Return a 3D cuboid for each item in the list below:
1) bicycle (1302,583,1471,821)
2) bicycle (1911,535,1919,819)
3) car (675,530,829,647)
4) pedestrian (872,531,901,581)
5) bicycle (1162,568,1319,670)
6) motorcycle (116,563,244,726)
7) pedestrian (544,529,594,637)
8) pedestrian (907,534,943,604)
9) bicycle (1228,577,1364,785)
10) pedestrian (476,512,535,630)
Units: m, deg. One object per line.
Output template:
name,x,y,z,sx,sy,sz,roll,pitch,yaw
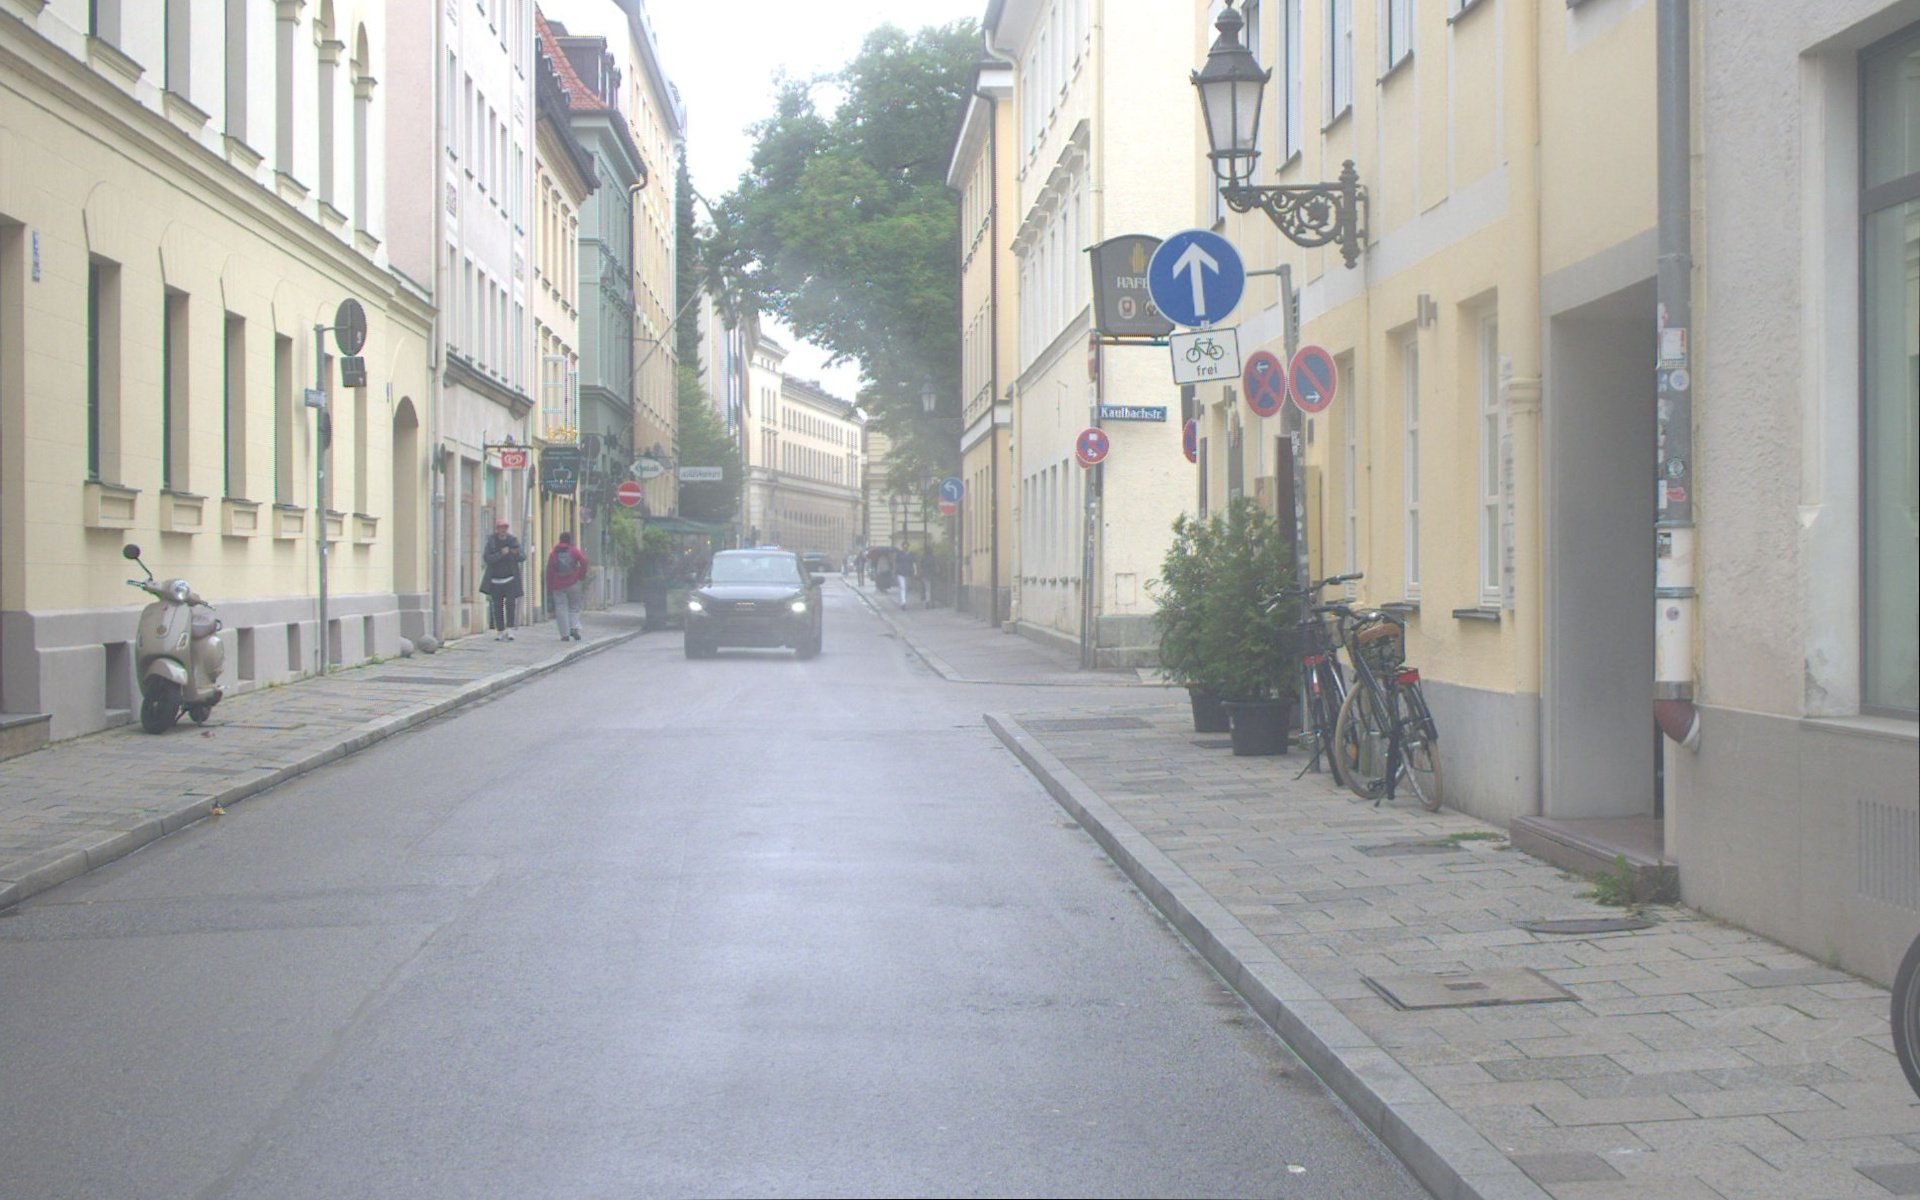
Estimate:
bicycle,2.203,0.498,17.945,0.565,1.133,1.988,-2,1,-1
bicycle,2.565,0.554,6.863,0.713,1.391,2.122,-2,1,0
car,-2.911,-0.189,48.844,1.812,1.588,4.000,0,1,2
pedestrian,-2.691,-1.624,125.935,1.015,1.796,1.349,1,1,-1
bicycle,3.249,0.220,39.917,1.757,1.140,0.586,0,3,-2
motorcycle,-5.861,0.313,25.902,0.602,1.170,1.709,1,1,-2
pedestrian,-6.199,-0.276,54.535,0.765,1.702,0.785,0,1,-4
pedestrian,-0.914,-0.824,89.898,0.880,1.796,1.046,1,1,-1
bicycle,1.953,0.447,20.158,0.565,1.133,1.684,-2,1,-1
pedestrian,-6.931,-0.451,52.459,0.809,1.749,0.990,1,2,-4
